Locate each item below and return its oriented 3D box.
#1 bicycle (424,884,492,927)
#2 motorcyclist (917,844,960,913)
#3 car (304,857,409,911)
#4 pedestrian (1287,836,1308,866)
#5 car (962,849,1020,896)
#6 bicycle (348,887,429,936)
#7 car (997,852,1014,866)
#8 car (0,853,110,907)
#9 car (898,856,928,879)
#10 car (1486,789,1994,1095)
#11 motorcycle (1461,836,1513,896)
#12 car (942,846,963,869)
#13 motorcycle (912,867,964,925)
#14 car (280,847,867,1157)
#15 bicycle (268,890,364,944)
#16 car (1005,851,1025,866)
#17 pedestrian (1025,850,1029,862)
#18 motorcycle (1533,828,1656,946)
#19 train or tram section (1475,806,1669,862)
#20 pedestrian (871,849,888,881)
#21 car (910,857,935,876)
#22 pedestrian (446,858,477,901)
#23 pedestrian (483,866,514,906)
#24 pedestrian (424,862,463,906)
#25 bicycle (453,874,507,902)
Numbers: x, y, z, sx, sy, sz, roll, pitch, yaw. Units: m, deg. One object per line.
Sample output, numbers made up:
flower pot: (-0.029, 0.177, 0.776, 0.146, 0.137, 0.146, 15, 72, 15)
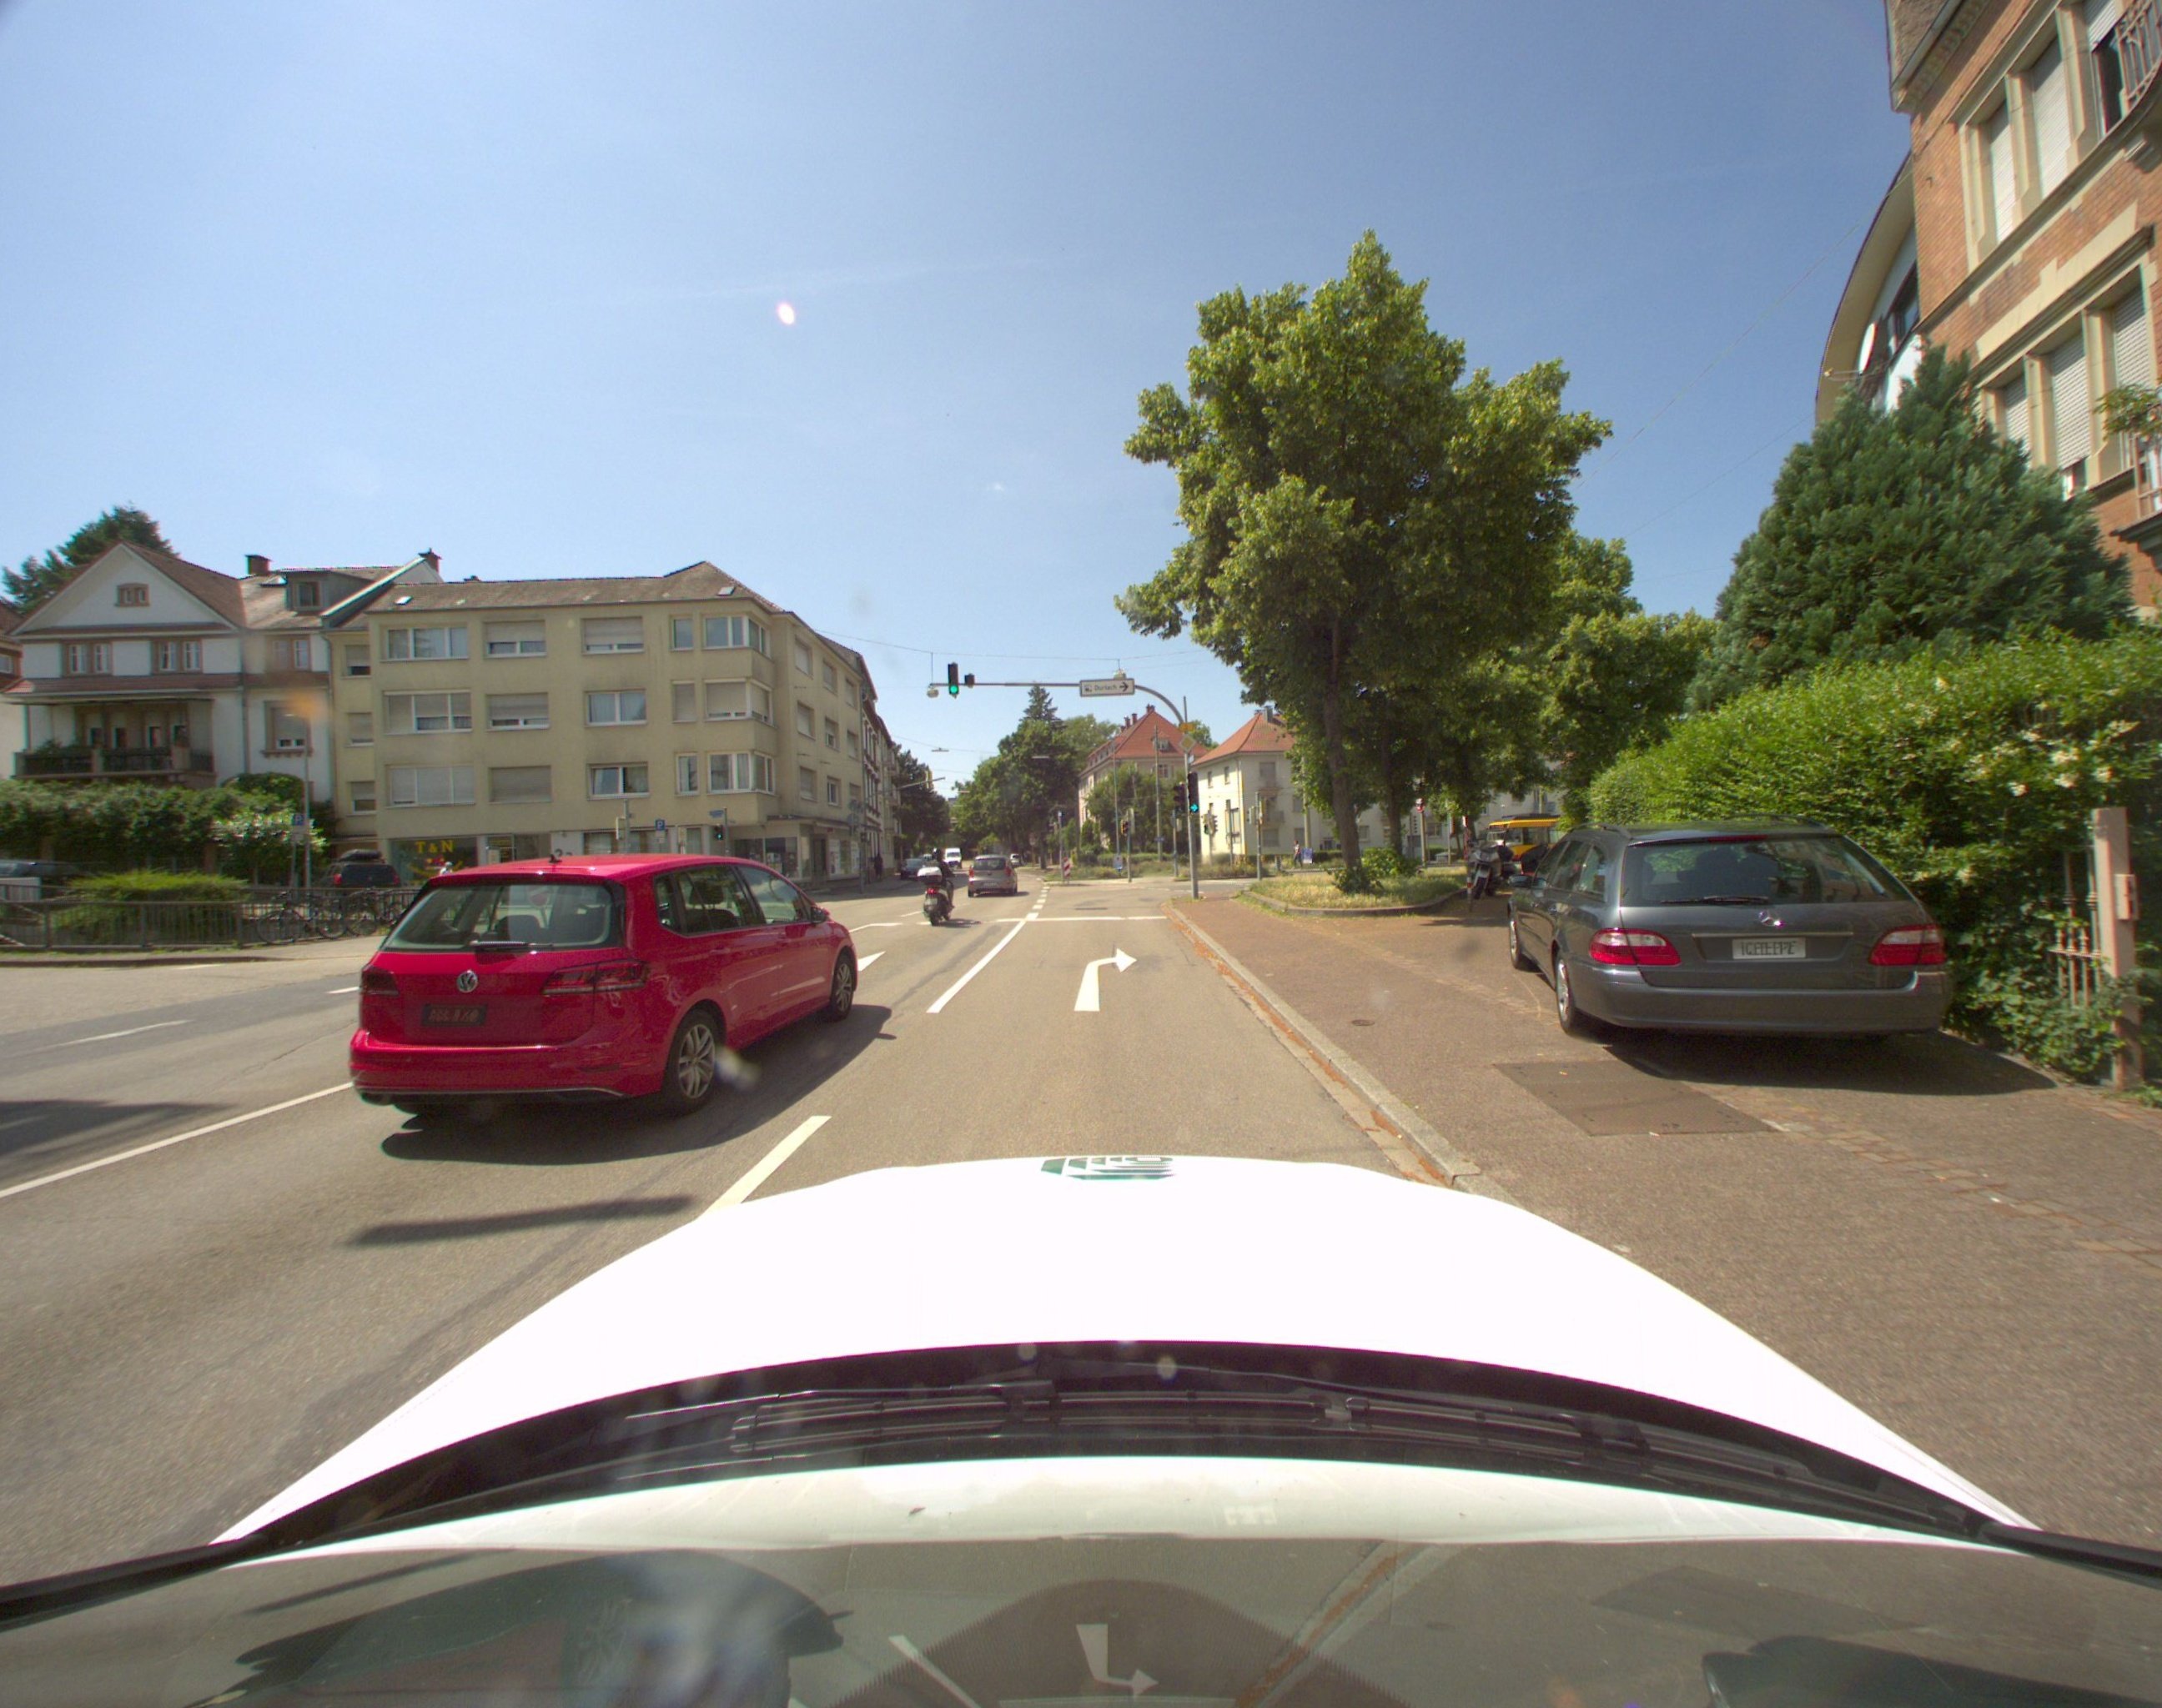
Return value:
bicycle: (-15.770, 1.286, 20.669, 0.396, 0.967, 1.782, -2, 0, -3)
motorcyclist: (-3.100, 0.511, 17.768, 0.708, 1.445, 1.019, -2, 0, 0)
car: (-24.953, 1.014, 27.999, 4.273, 1.664, 2.013, -2, 0, 39)
pedestrian: (12.489, -0.179, 46.963, 0.840, 1.705, 0.756, -2, 0, -26)
car: (-3.240, 0.631, 29.993, 1.794, 1.558, 4.034, -2, 0, -2)
bicycle: (-15.734, 1.284, 18.553, 0.396, 0.967, 1.744, -2, 0, -3)
car: (-10.324, 0.646, 111.317, 1.994, 1.906, 3.985, -1, 0, -11)
car: (-34.821, 0.807, 26.551, 3.977, 1.616, 1.808, 2, 0, -2)
car: (-11.881, 0.983, 57.749, 1.995, 1.519, 3.983, -1, -1, -12)
car: (4.690, 0.394, 6.850, 1.818, 1.548, 5.184, -3, 1, 22)
motorcycle: (9.501, 0.261, 19.006, 0.906, 1.313, 2.239, -1, 0, 31)
car: (-15.914, 0.434, 101.248, 2.215, 2.501, 7.533, -5, 0, -8)
motorcycle: (-3.093, 0.885, 17.820, 0.708, 1.134, 2.197, -2, 0, 0)
car: (-3.143, 0.762, 6.192, 1.792, 1.558, 4.039, -1, 0, 2)
bicycle: (-15.623, 1.267, 16.681, 0.396, 0.967, 1.717, -2, 0, -3)
car: (-7.972, 0.535, 98.092, 1.994, 1.807, 3.985, -1, 0, -11)
pedestrian: (-7.289, 0.232, 109.457, 0.508, 1.656, 0.465, -1, 0, -6)
motorcycle: (6.443, 0.355, 10.370, 0.922, 1.302, 2.294, -3, 1, 23)
train or tram section: (35.777, -1.493, 59.294, 14.152, 3.568, 2.805, -2, 0, -14)
pedestrian: (-12.651, 0.693, 51.229, 0.935, 1.931, 0.973, -2, 0, -11)
car: (-13.848, 1.084, 71.110, 1.995, 1.510, 3.984, -2, 0, -11)
pedestrian: (-24.249, 0.983, 31.890, 0.683, 1.632, 0.649, -2, 0, 2)
pedestrian: (-22.464, 1.224, 31.423, 0.683, 1.475, 0.649, -2, 0, 2)
pedestrian: (-24.321, 1.148, 31.092, 0.798, 1.632, 0.823, -2, 0, 2)
bicycle: (-24.140, 1.367, 32.723, 1.732, 1.026, 0.498, -2, 0, -1)
